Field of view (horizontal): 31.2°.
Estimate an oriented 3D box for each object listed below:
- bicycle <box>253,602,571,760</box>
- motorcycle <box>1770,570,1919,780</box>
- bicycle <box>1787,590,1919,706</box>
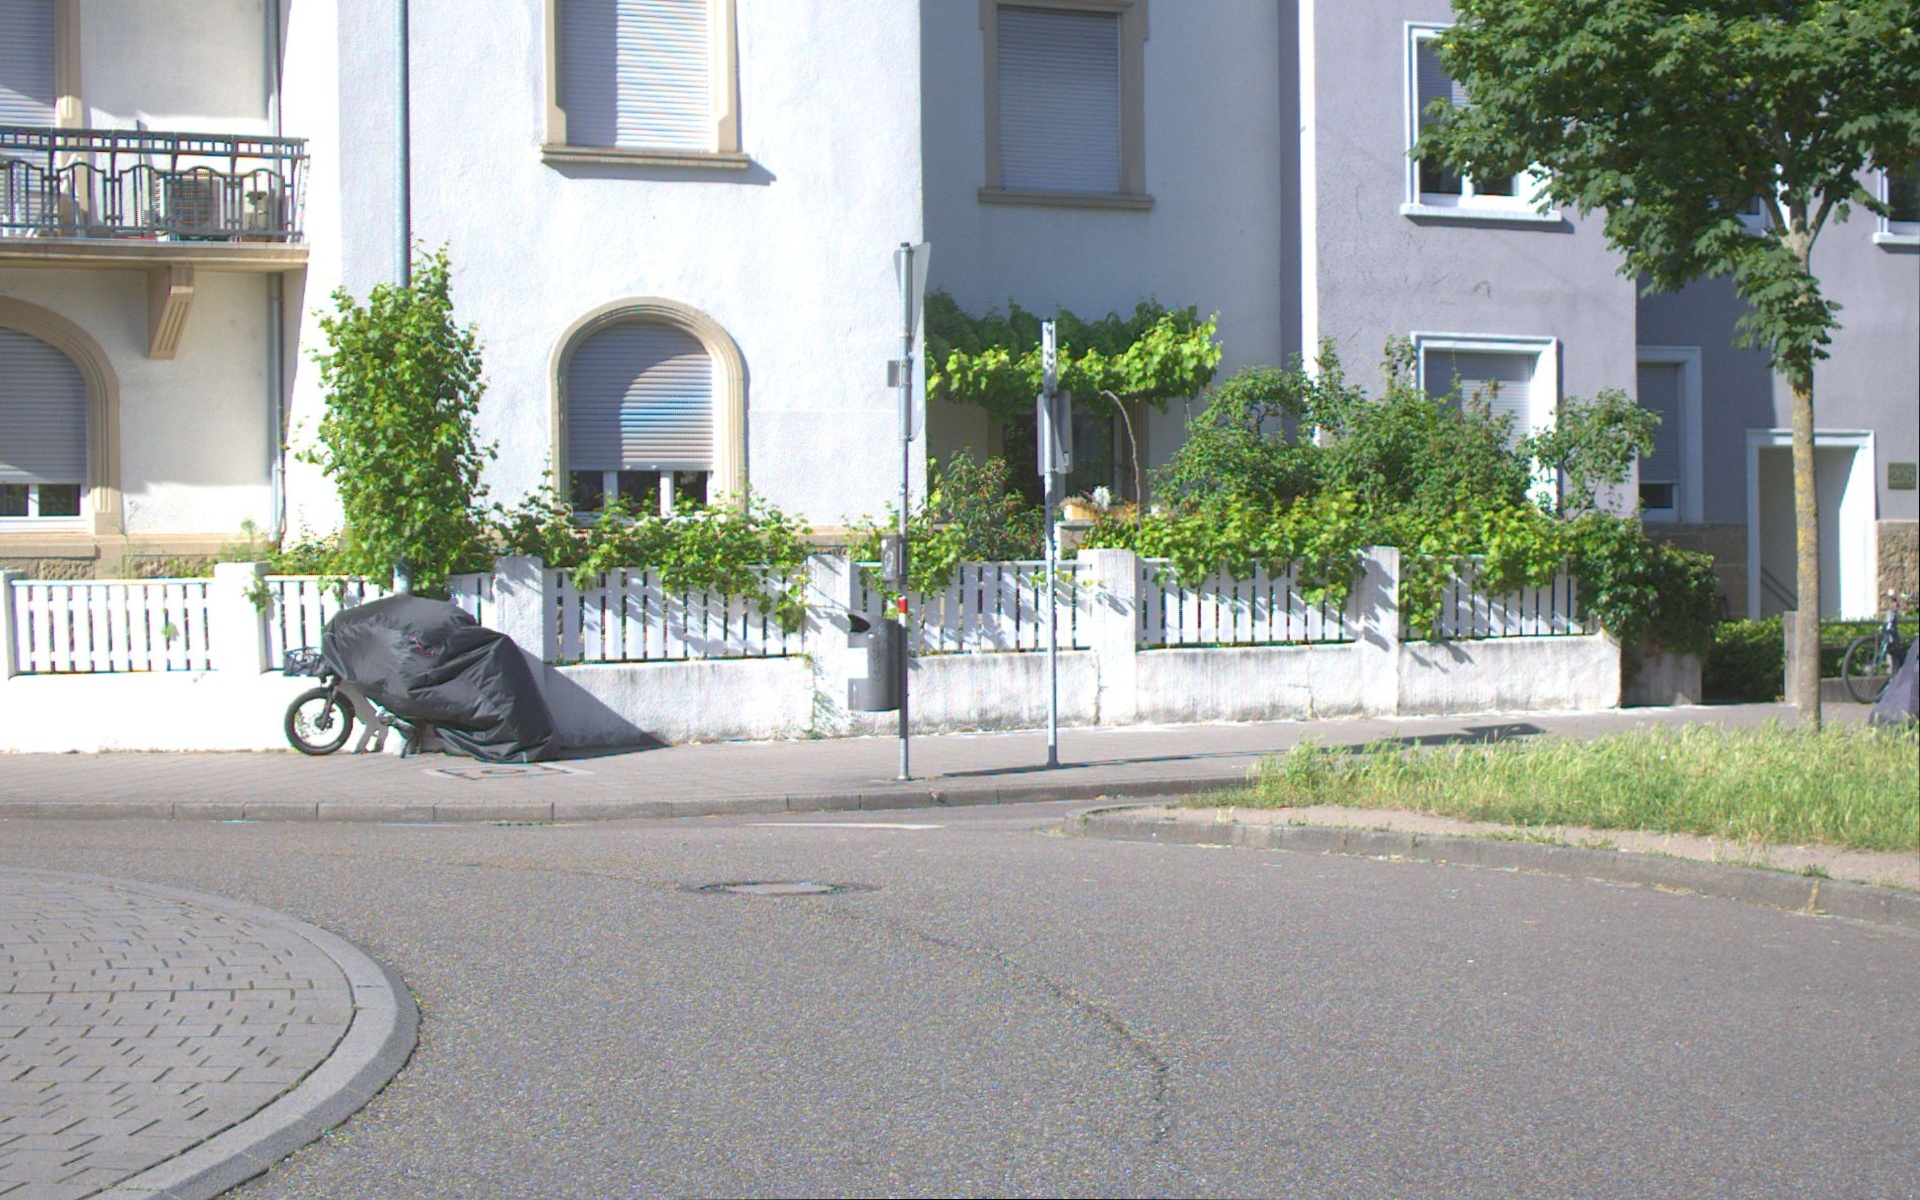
[{"bbox_3d":[-4.160,0.599,26.109,2.280,1.153,0.766,0,0,18],"label":"bicycle"},{"bbox_3d":[6.376,0.451,21.017,1.123,1.263,2.784,-1,1,-31],"label":"motorcycle"},{"bbox_3d":[8.981,0.437,32.584,2.249,1.056,0.683,-1,1,-24],"label":"bicycle"}]
